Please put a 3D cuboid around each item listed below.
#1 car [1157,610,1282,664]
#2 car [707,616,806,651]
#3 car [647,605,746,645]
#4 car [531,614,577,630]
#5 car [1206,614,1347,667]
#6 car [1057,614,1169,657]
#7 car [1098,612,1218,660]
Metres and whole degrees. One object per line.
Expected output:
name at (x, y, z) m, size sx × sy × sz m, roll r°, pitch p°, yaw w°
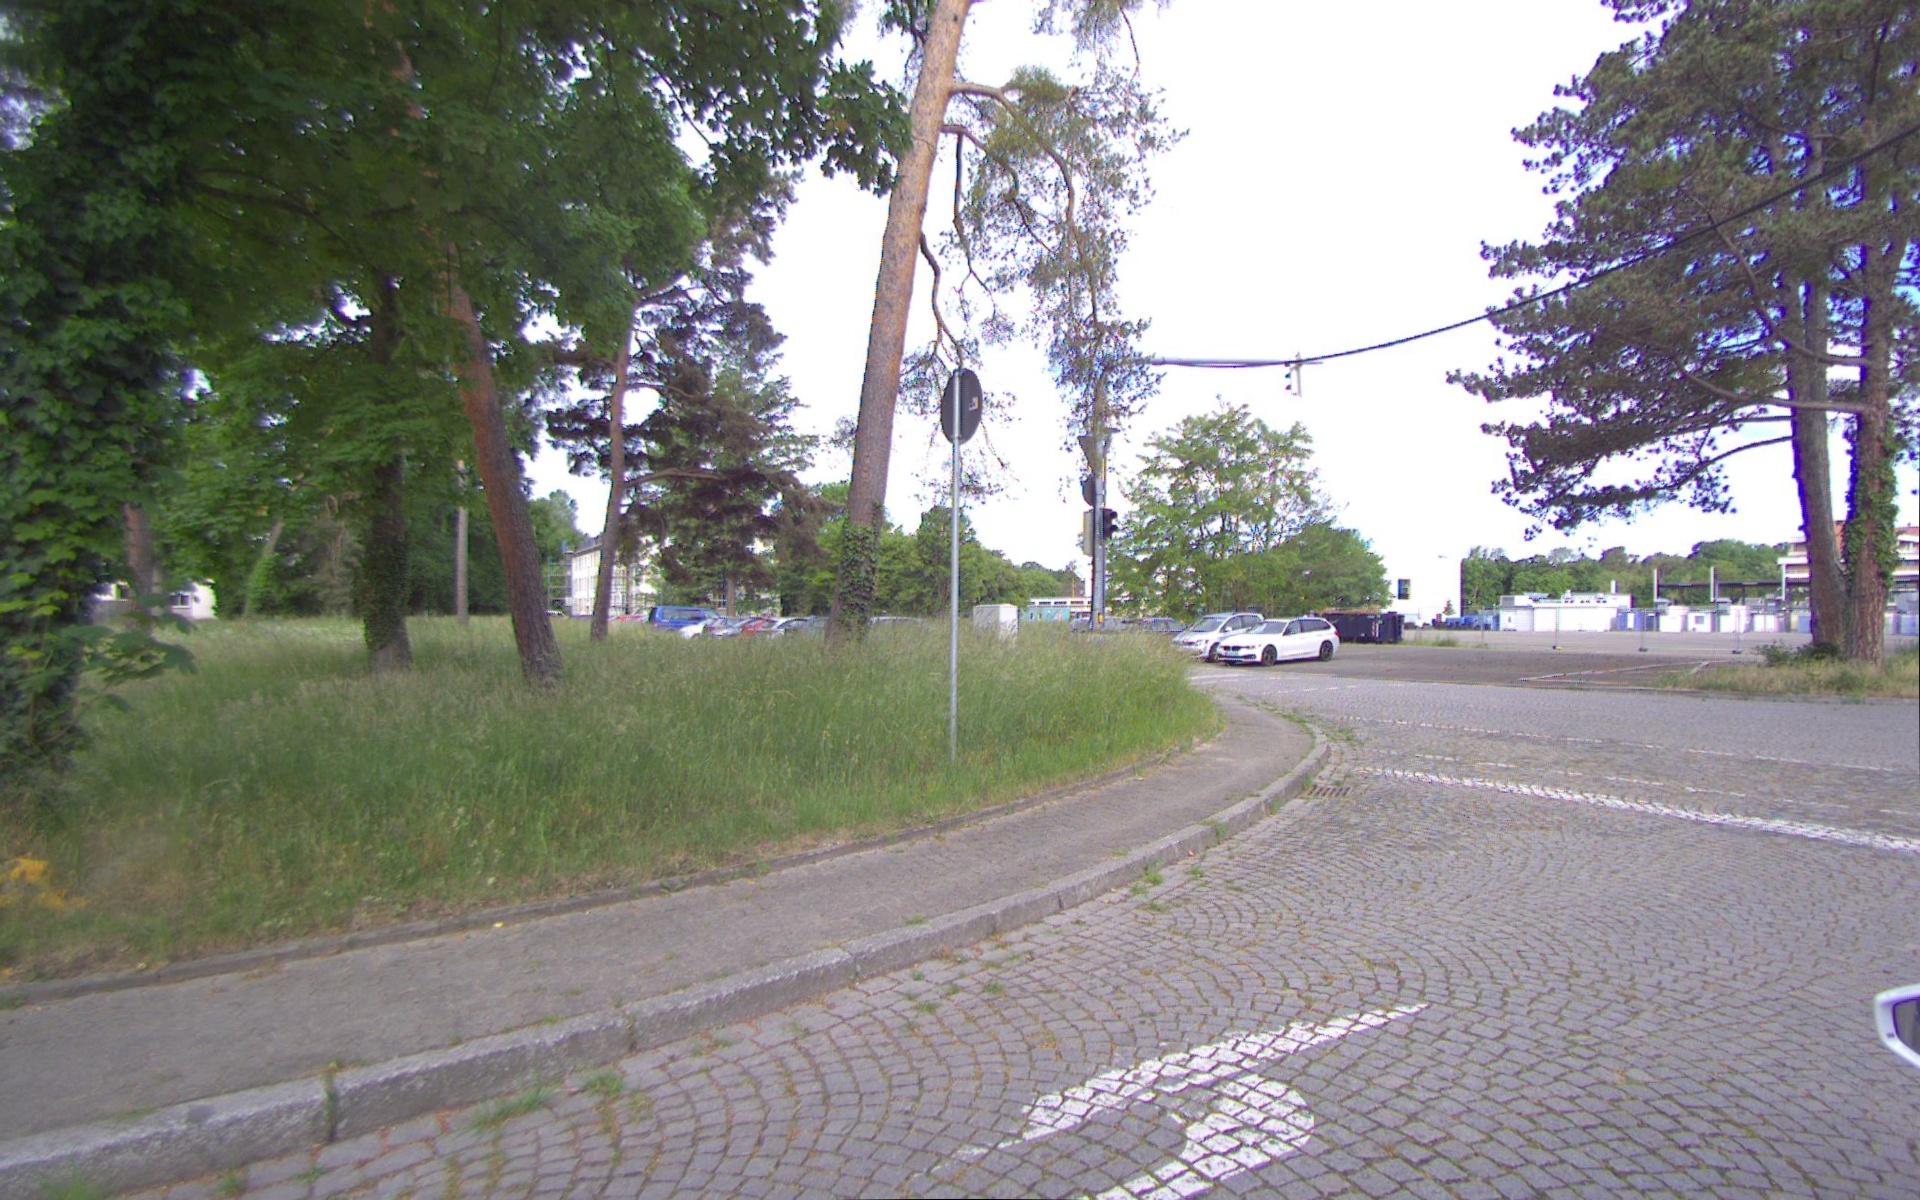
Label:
car at (8.988, 1.234, 34.665) m, size 4.280 × 1.605 × 1.810 m, roll -2°, pitch 1°, yaw -34°
car at (-8.887, 1.432, 43.879) m, size 3.952 × 1.457 × 1.678 m, roll 1°, pitch -1°, yaw -30°
car at (-14.036, 1.313, 53.528) m, size 4.737 × 2.007 × 1.982 m, roll 0°, pitch 0°, yaw -30°
car at (-50.820, 2.741, 125.831) m, size 5.104 × 2.040 × 1.983 m, roll 1°, pitch -1°, yaw -31°
car at (10.299, 1.270, 32.551) m, size 4.689 × 1.461 × 1.799 m, roll -2°, pitch 1°, yaw -33°
car at (5.987, 1.367, 39.186) m, size 4.281 × 1.587 × 1.782 m, roll 1°, pitch -1°, yaw -34°
car at (7.281, 1.266, 36.840) m, size 4.280 × 1.522 × 1.843 m, roll -2°, pitch 1°, yaw -34°
